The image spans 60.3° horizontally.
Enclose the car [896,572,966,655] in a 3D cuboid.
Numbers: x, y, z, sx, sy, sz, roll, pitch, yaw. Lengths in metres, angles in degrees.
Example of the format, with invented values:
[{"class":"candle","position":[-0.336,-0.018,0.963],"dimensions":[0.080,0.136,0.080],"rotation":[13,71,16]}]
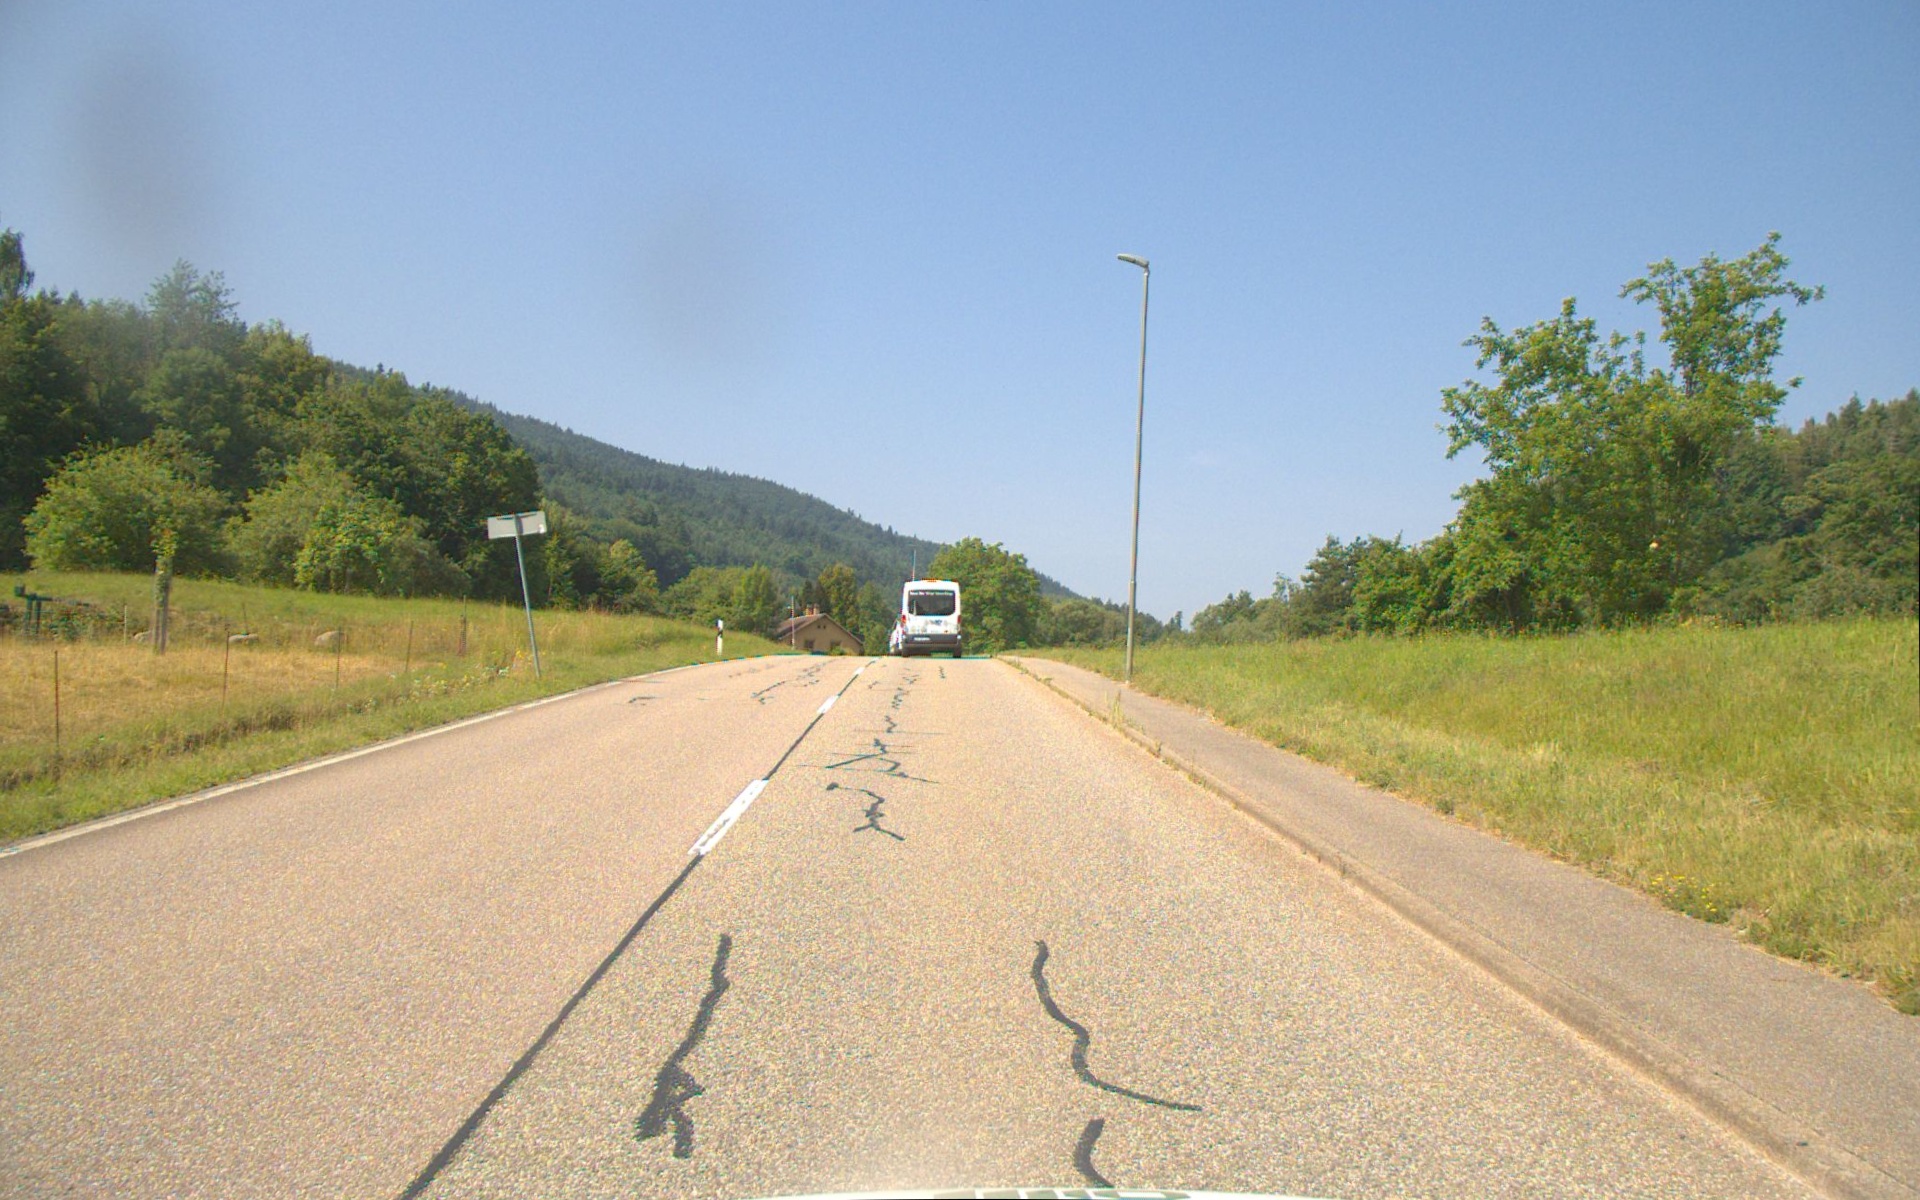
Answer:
[{"class":"car","position":[-0.990,0.502,55.624],"dimensions":[2.178,2.570,4.982],"rotation":[-1,-2,-2]}]

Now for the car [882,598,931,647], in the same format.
[{"class":"car","position":[-2.806,1.194,85.643],"dimensions":[2.179,2.327,4.978],"rotation":[-1,-2,-5]}]
